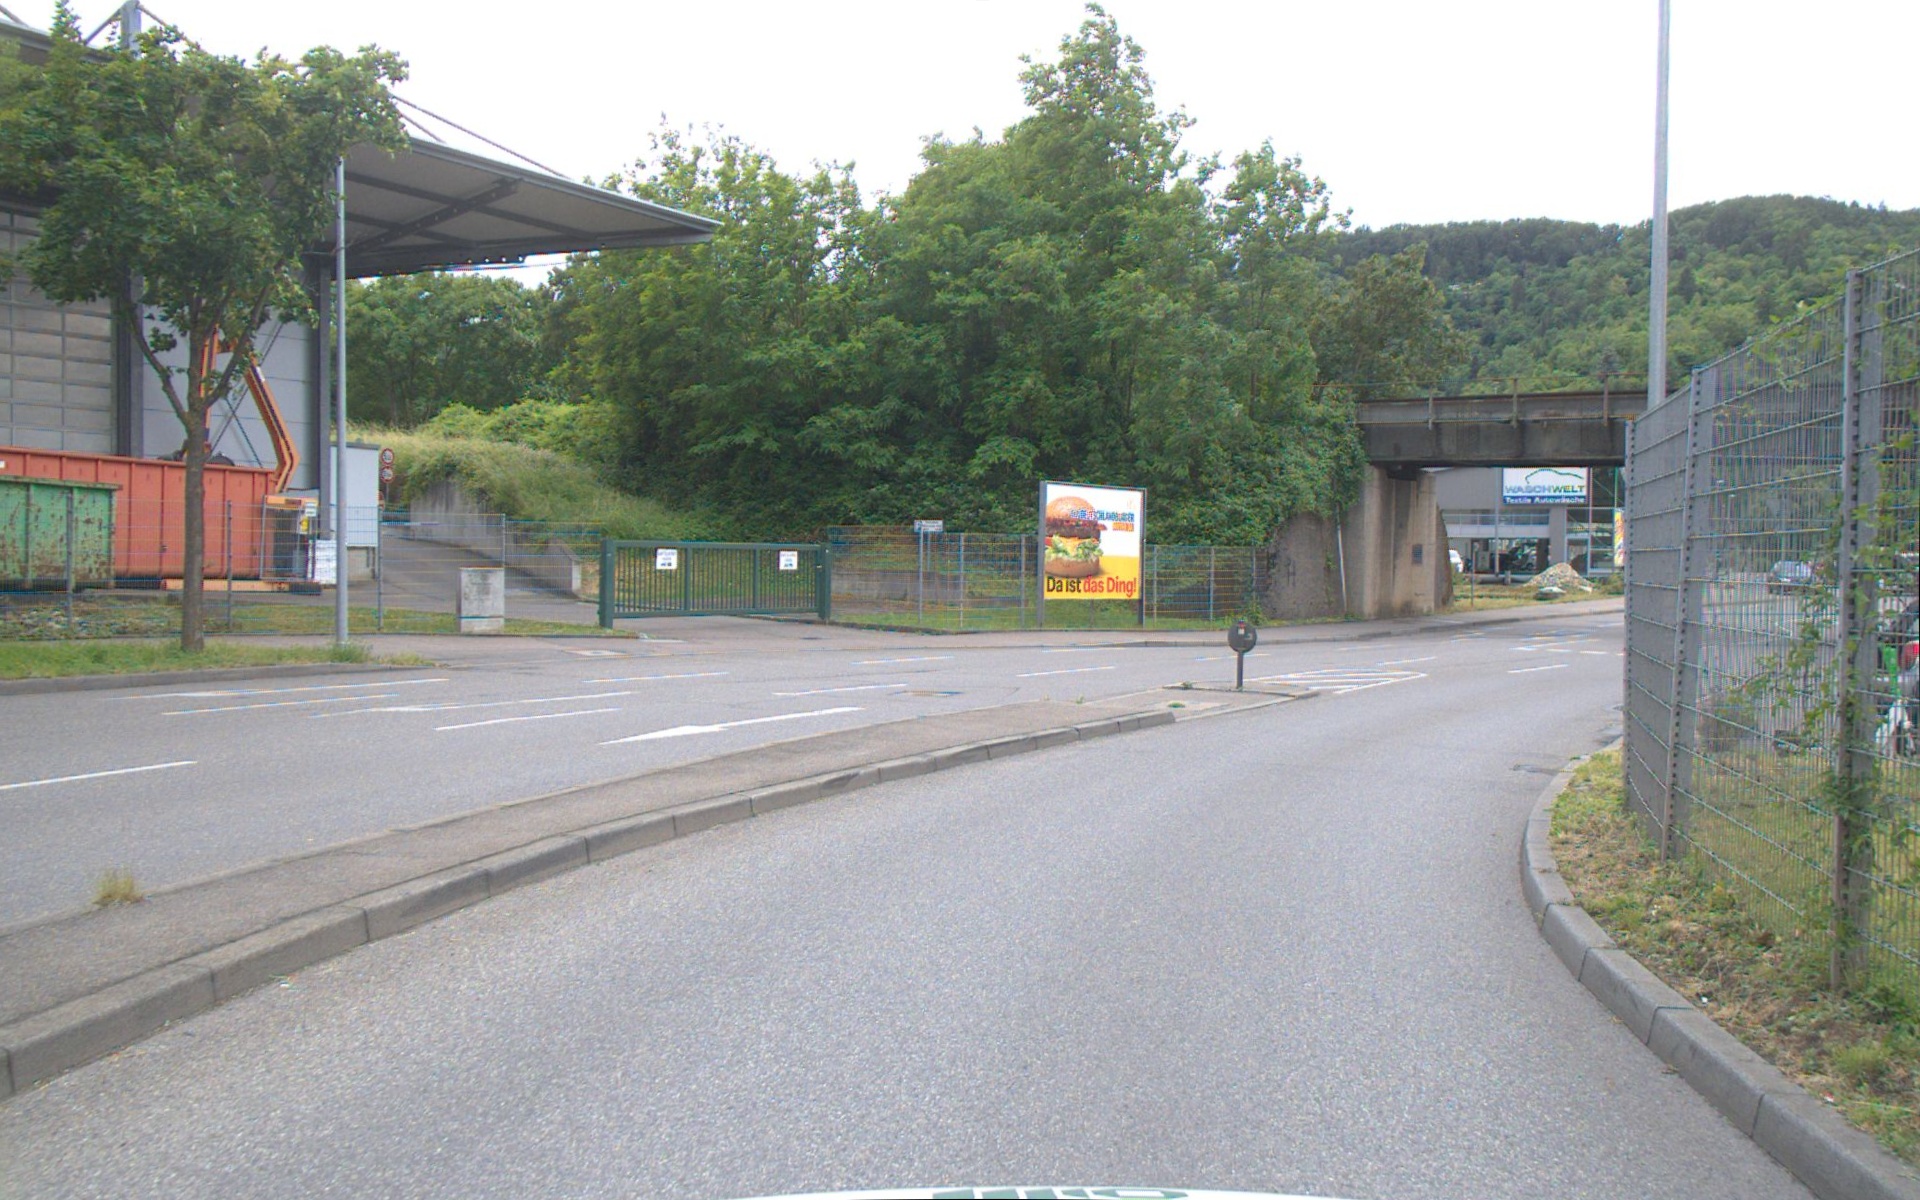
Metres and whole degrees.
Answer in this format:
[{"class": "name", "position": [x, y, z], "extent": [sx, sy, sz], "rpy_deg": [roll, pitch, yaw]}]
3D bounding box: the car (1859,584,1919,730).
[{"class": "car", "position": [11.749, 0.590, 17.129], "extent": [3.921, 1.457, 1.788], "rpy_deg": [1, 1, 13]}]

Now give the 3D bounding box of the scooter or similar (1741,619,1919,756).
[{"class": "scooter or similar", "position": [7.781, 0.756, 14.776], "extent": [1.392, 1.153, 0.478], "rpy_deg": [0, 0, 39]}]

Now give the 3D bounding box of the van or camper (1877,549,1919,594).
[{"class": "van or camper", "position": [46.119, -1.336, 78.599], "extent": [2.065, 2.119, 4.186], "rpy_deg": [1, 1, -17]}]

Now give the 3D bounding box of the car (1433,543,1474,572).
[{"class": "car", "position": [27.934, -2.418, 93.721], "extent": [1.951, 1.562, 4.004], "rpy_deg": [2, 2, 14]}]
